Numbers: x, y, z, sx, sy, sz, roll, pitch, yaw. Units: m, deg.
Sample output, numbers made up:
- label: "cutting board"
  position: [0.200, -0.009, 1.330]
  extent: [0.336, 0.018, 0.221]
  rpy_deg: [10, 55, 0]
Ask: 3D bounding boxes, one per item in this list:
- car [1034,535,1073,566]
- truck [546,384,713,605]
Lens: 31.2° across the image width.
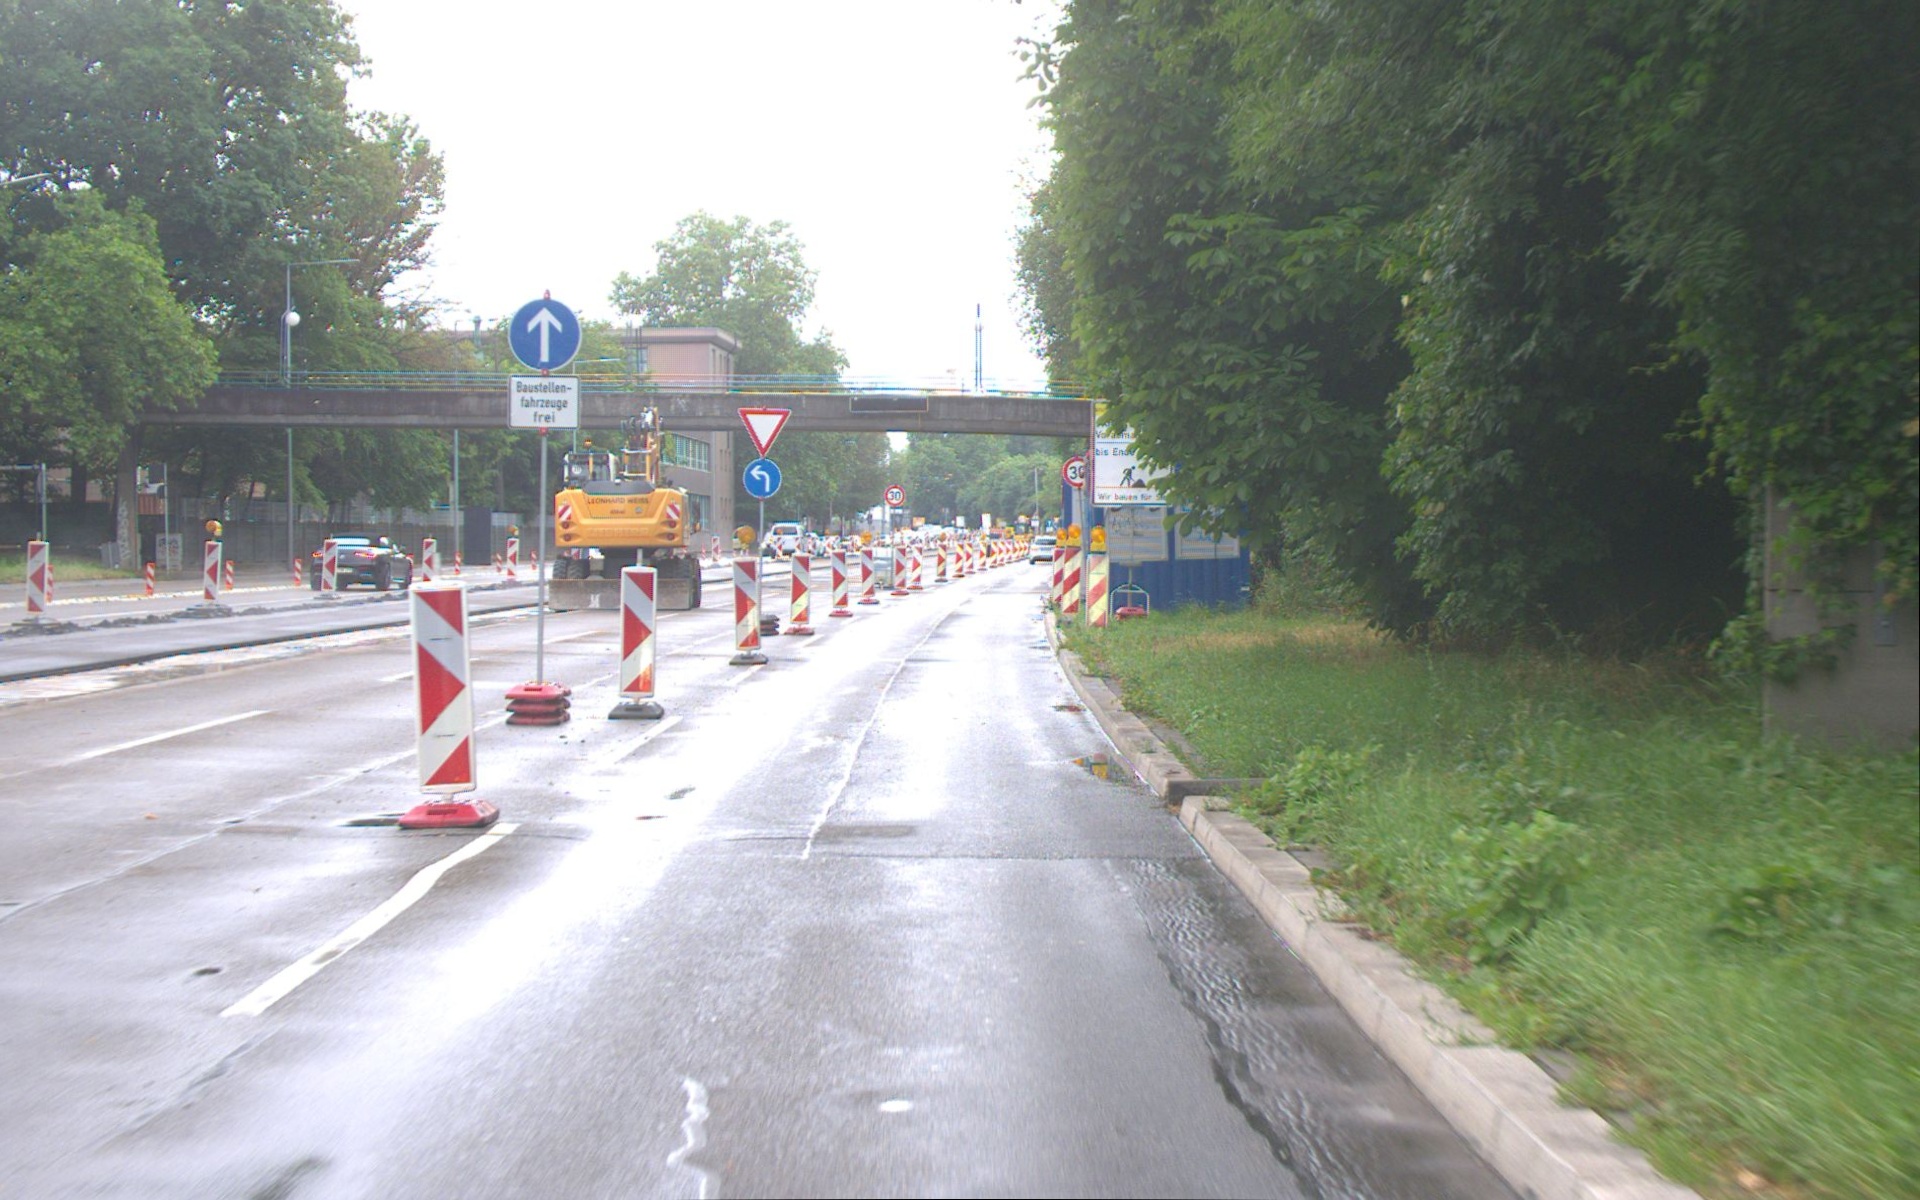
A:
- label: "car"
  position: [4.979, -2.617, 182.254]
  extent: [1.993, 1.634, 4.000]
  rpy_deg: [0, 1, 2]
- label: "truck"
  position: [-6.828, -2.161, 72.433]
  extent: [2.897, 4.244, 10.757]
  rpy_deg: [1, 1, -3]
